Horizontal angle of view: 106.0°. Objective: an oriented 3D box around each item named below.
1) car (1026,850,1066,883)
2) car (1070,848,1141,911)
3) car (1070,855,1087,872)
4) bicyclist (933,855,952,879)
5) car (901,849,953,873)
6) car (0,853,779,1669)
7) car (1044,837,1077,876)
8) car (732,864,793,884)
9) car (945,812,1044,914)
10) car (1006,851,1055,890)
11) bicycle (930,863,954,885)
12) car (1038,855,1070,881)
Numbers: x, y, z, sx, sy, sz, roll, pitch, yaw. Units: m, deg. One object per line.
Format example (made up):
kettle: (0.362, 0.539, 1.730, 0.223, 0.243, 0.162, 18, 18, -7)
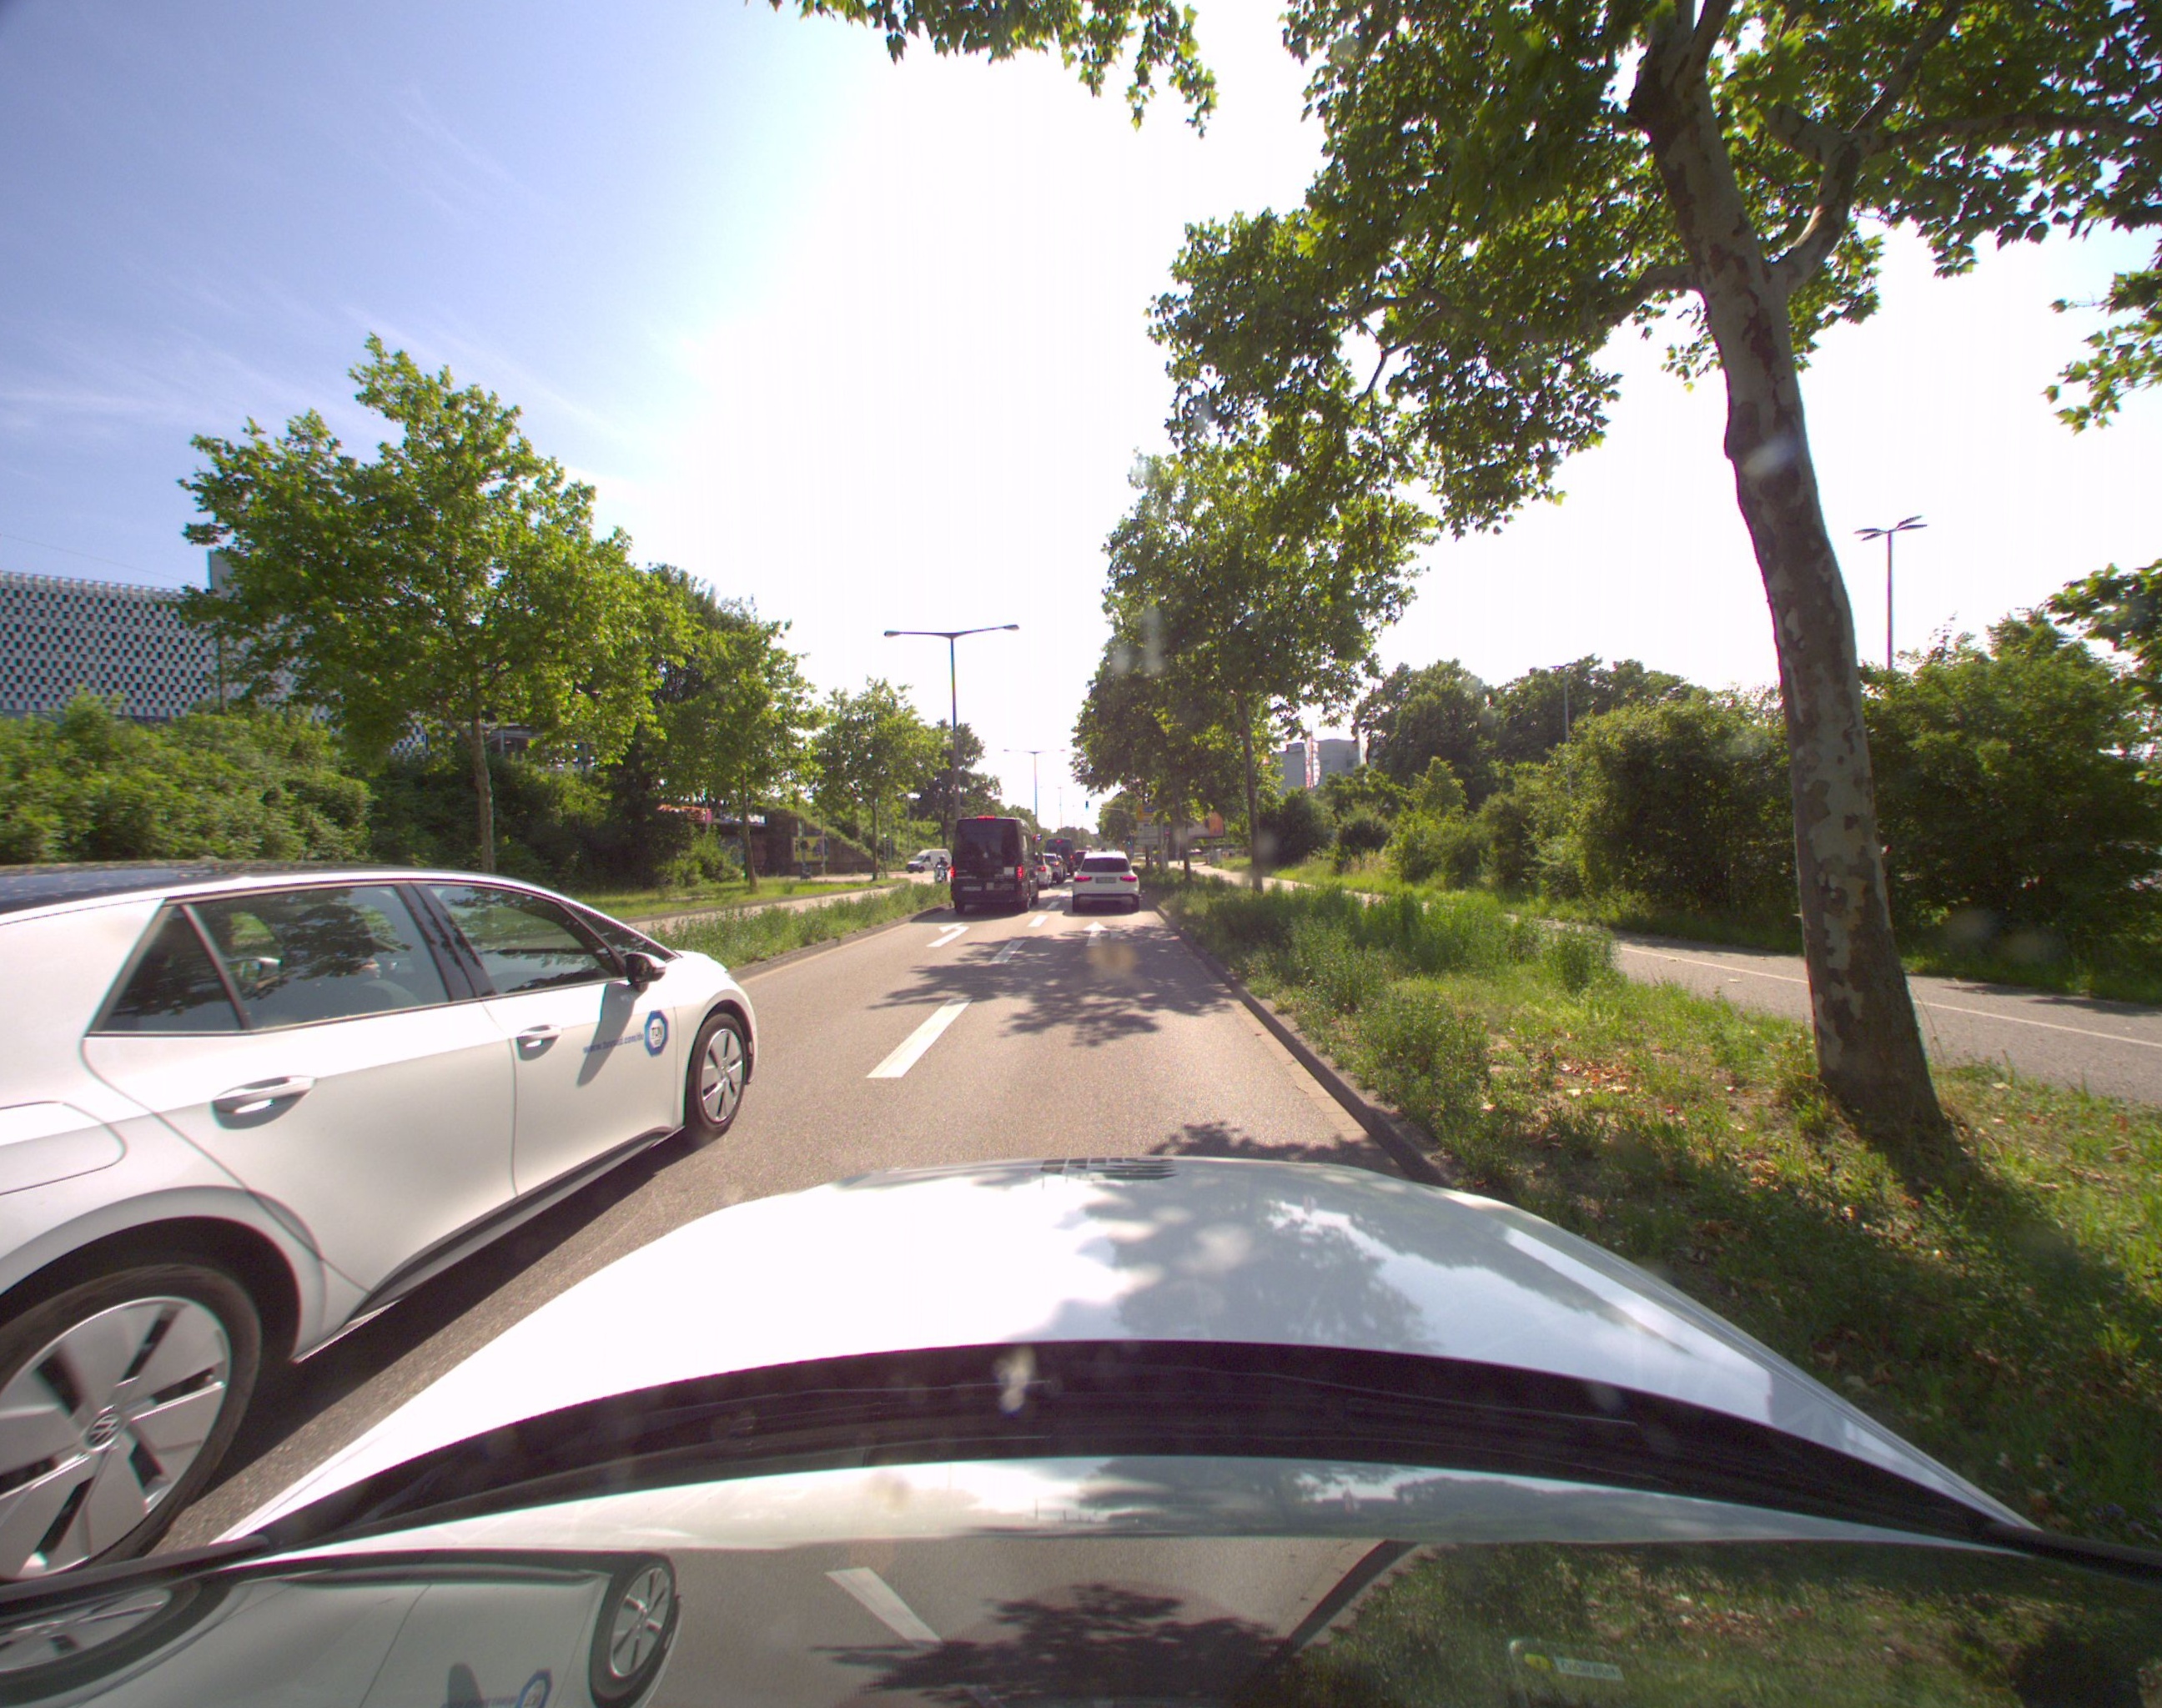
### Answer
car: (-1.797, 0.646, 42.932, 1.764, 1.647, 4.086, -1, 0, 2)
car: (0.632, 0.675, 23.489, 1.848, 1.607, 3.999, 1, 0, 0)
car: (-0.211, 0.842, 73.392, 1.458, 1.404, 3.477, -1, 0, 1)
bicyclist: (-6.962, 0.649, 40.942, 0.725, 1.191, 1.102, 0, 0, 2)
car: (-16.038, 0.726, 85.060, 1.974, 2.418, 5.171, -1, 0, 40)
car: (-2.884, 0.771, 3.036, 1.812, 1.521, 4.210, -1, 0, 2)
car: (-1.451, 0.179, 58.971, 2.073, 2.656, 4.876, 0, 0, 2)
car: (-24.335, 1.502, 62.254, 4.013, 1.345, 1.864, -2, 0, -31)
car: (-2.350, 0.241, 23.932, 2.008, 2.607, 6.171, 0, 0, 2)
car: (-2.207, 0.701, 36.977, 1.764, 1.647, 4.354, -1, 0, 2)
bicycle: (-6.959, 0.982, 40.929, 0.725, 1.029, 2.218, 0, 0, 2)
car: (-1.597, 0.810, 48.988, 1.685, 1.505, 3.887, 0, 0, 2)
